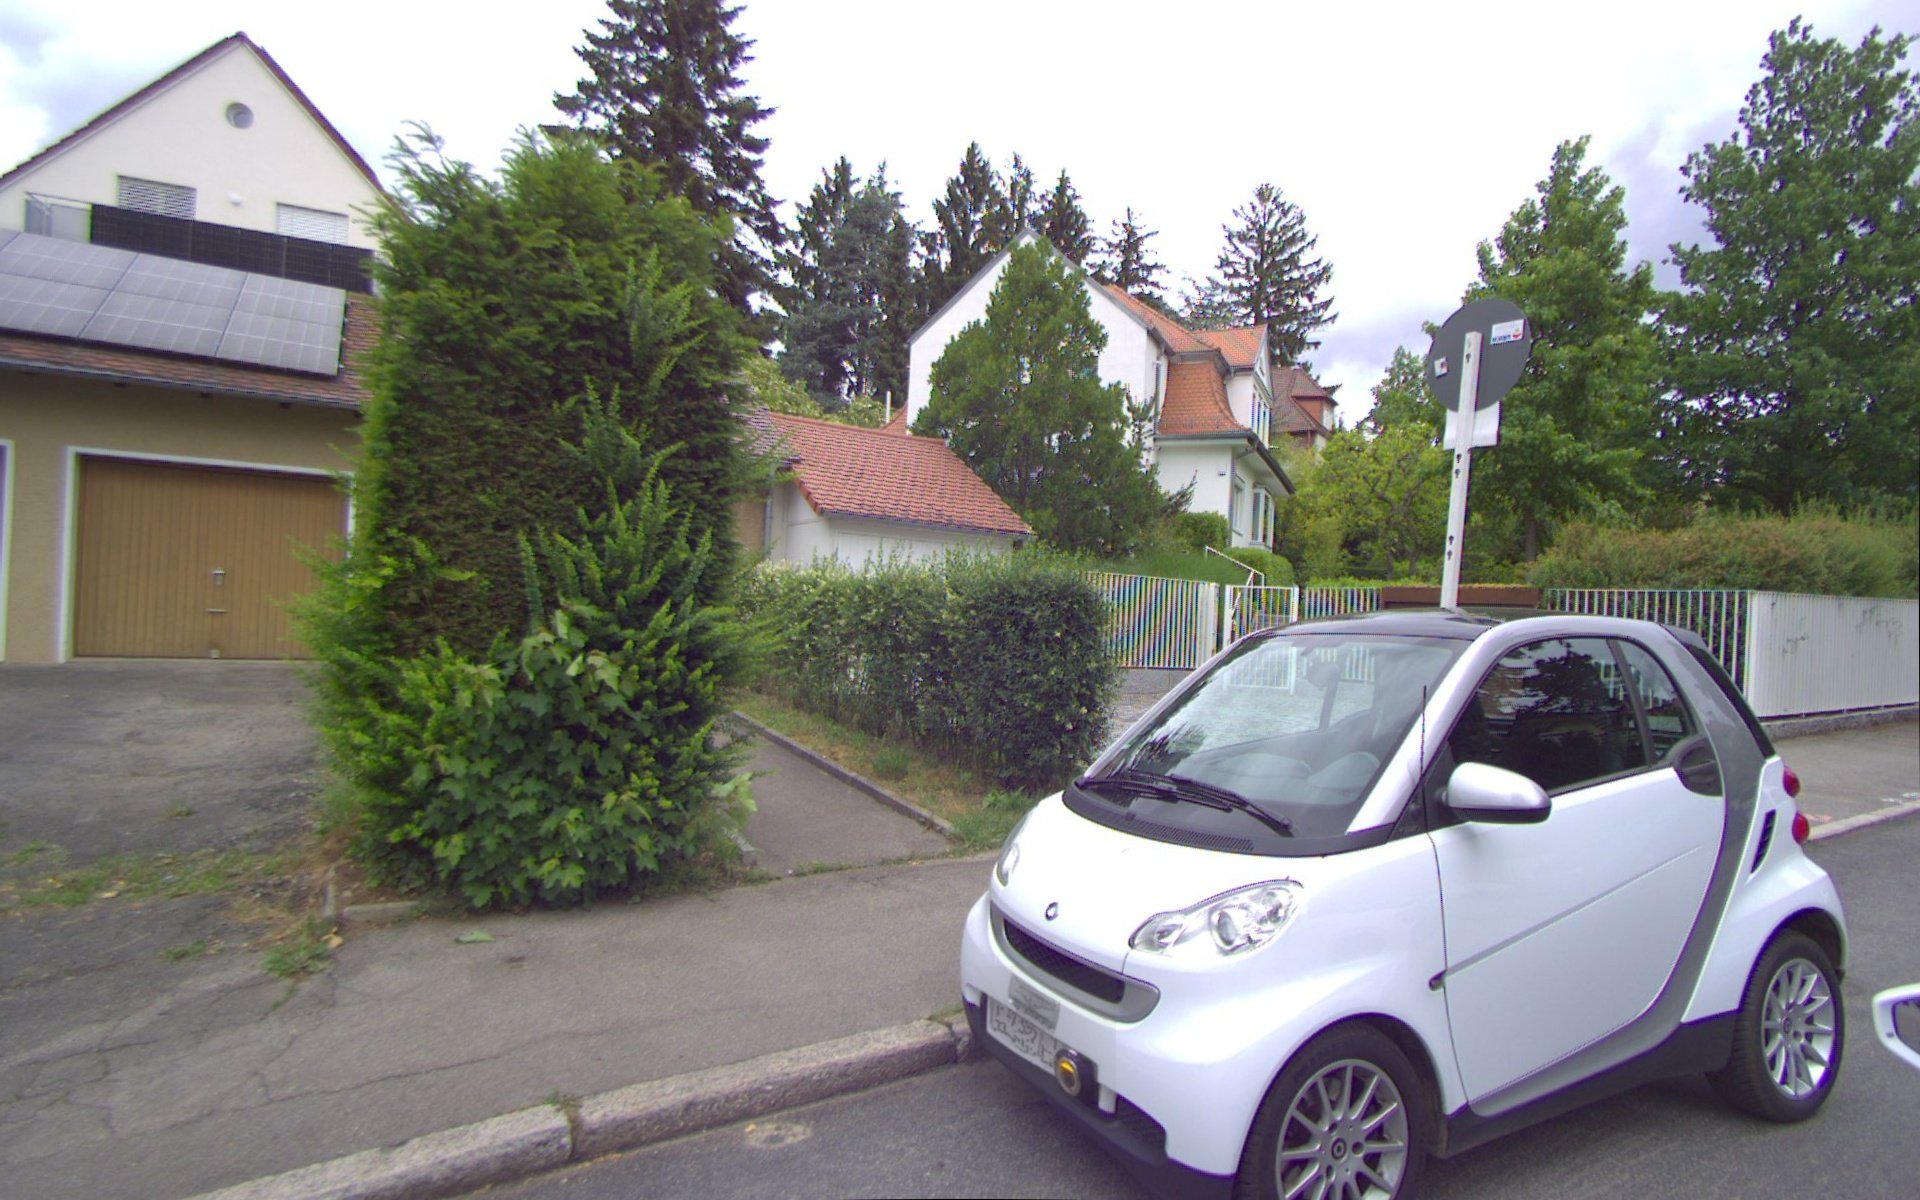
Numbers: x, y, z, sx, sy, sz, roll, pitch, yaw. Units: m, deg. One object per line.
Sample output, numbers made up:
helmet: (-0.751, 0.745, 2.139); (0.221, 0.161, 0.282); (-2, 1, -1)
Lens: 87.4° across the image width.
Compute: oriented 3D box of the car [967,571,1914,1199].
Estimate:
car: (1.553, 0.776, 3.363); (2.731, 1.572, 1.439); (1, -3, -24)
